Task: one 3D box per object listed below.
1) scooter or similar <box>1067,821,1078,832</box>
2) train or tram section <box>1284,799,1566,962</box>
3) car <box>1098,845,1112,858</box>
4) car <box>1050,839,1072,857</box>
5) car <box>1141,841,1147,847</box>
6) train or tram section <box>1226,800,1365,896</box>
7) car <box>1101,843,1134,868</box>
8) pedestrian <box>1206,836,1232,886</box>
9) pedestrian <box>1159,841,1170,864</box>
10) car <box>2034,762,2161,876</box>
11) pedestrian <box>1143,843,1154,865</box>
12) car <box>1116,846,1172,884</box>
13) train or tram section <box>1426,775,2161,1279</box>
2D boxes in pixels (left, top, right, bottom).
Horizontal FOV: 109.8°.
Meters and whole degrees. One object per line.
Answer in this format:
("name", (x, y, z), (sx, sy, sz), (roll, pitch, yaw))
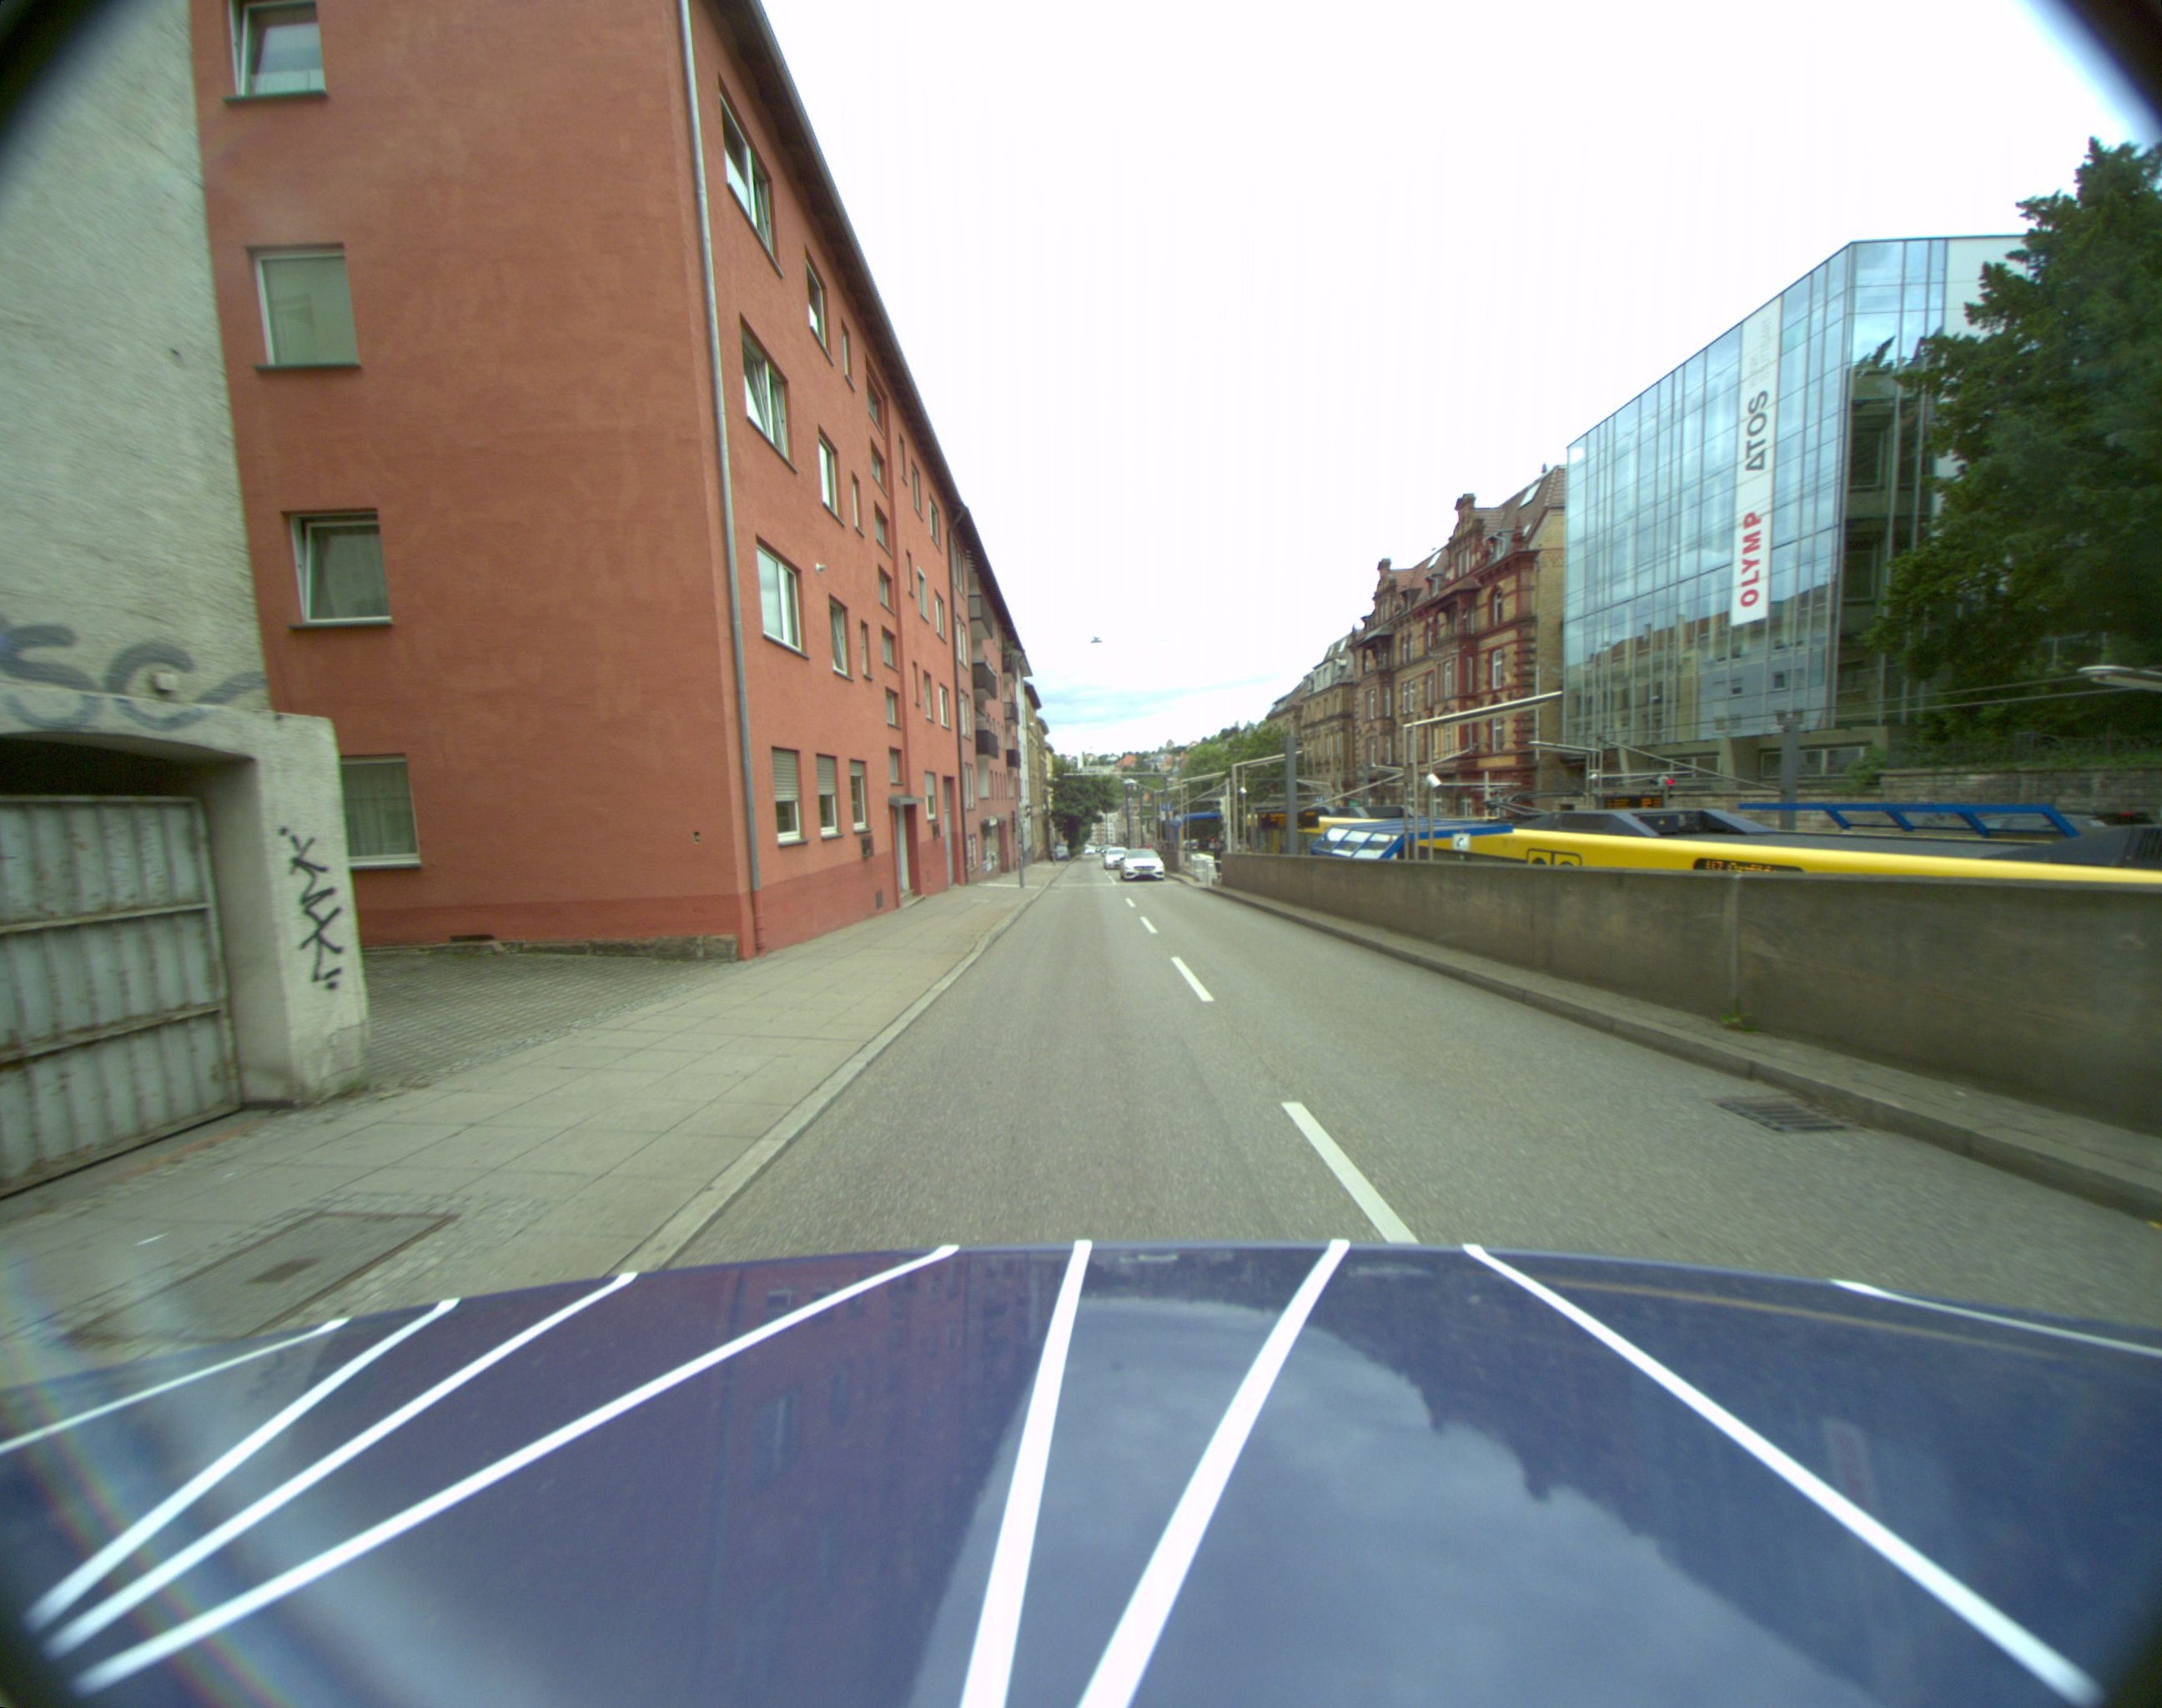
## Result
("scooter or similar", (-1.027, -3.157, 87.846), (1.199, 1.266, 0.629), (1, 1, -8))
("train or tram section", (9.096, 0.164, 22.598), (2.957, 3.453, 12.210), (-2, 4, 1))
("car", (3.433, -0.399, 107.201), (1.881, 1.728, 4.000), (-2, 1, 2))
("car", (-1.940, -0.608, 75.142), (1.862, 1.701, 4.308), (-1, 1, 2))
("car", (21.824, -3.591, 263.726), (1.998, 2.002, 4.000), (-2, 1, 2))
("train or tram section", (9.286, -0.556, 34.892), (2.957, 3.524, 12.391), (-2, 3, 1))
("car", (2.460, 0.111, 52.274), (1.999, 1.479, 4.229), (-5, 1, 0))
("pedestrian", (5.036, 0.250, 27.788), (0.817, 1.767, 0.803), (-3, 1, 6))
("pedestrian", (6.253, -0.127, 56.745), (0.623, 1.685, 0.660), (-3, 2, -9))
("car", (19.940, -0.648, 13.108), (1.998, 2.002, 4.000), (-2, 0, 1))
("pedestrian", (5.201, -0.016, 58.578), (0.680, 1.670, 0.685), (-3, 1, -2))
("car", (2.828, 0.449, 34.882), (1.999, 1.390, 4.227), (-4, 2, -2))
("train or tram section", (8.935, 0.882, 10.464), (2.957, 3.465, 12.213), (-2, 3, 1))
